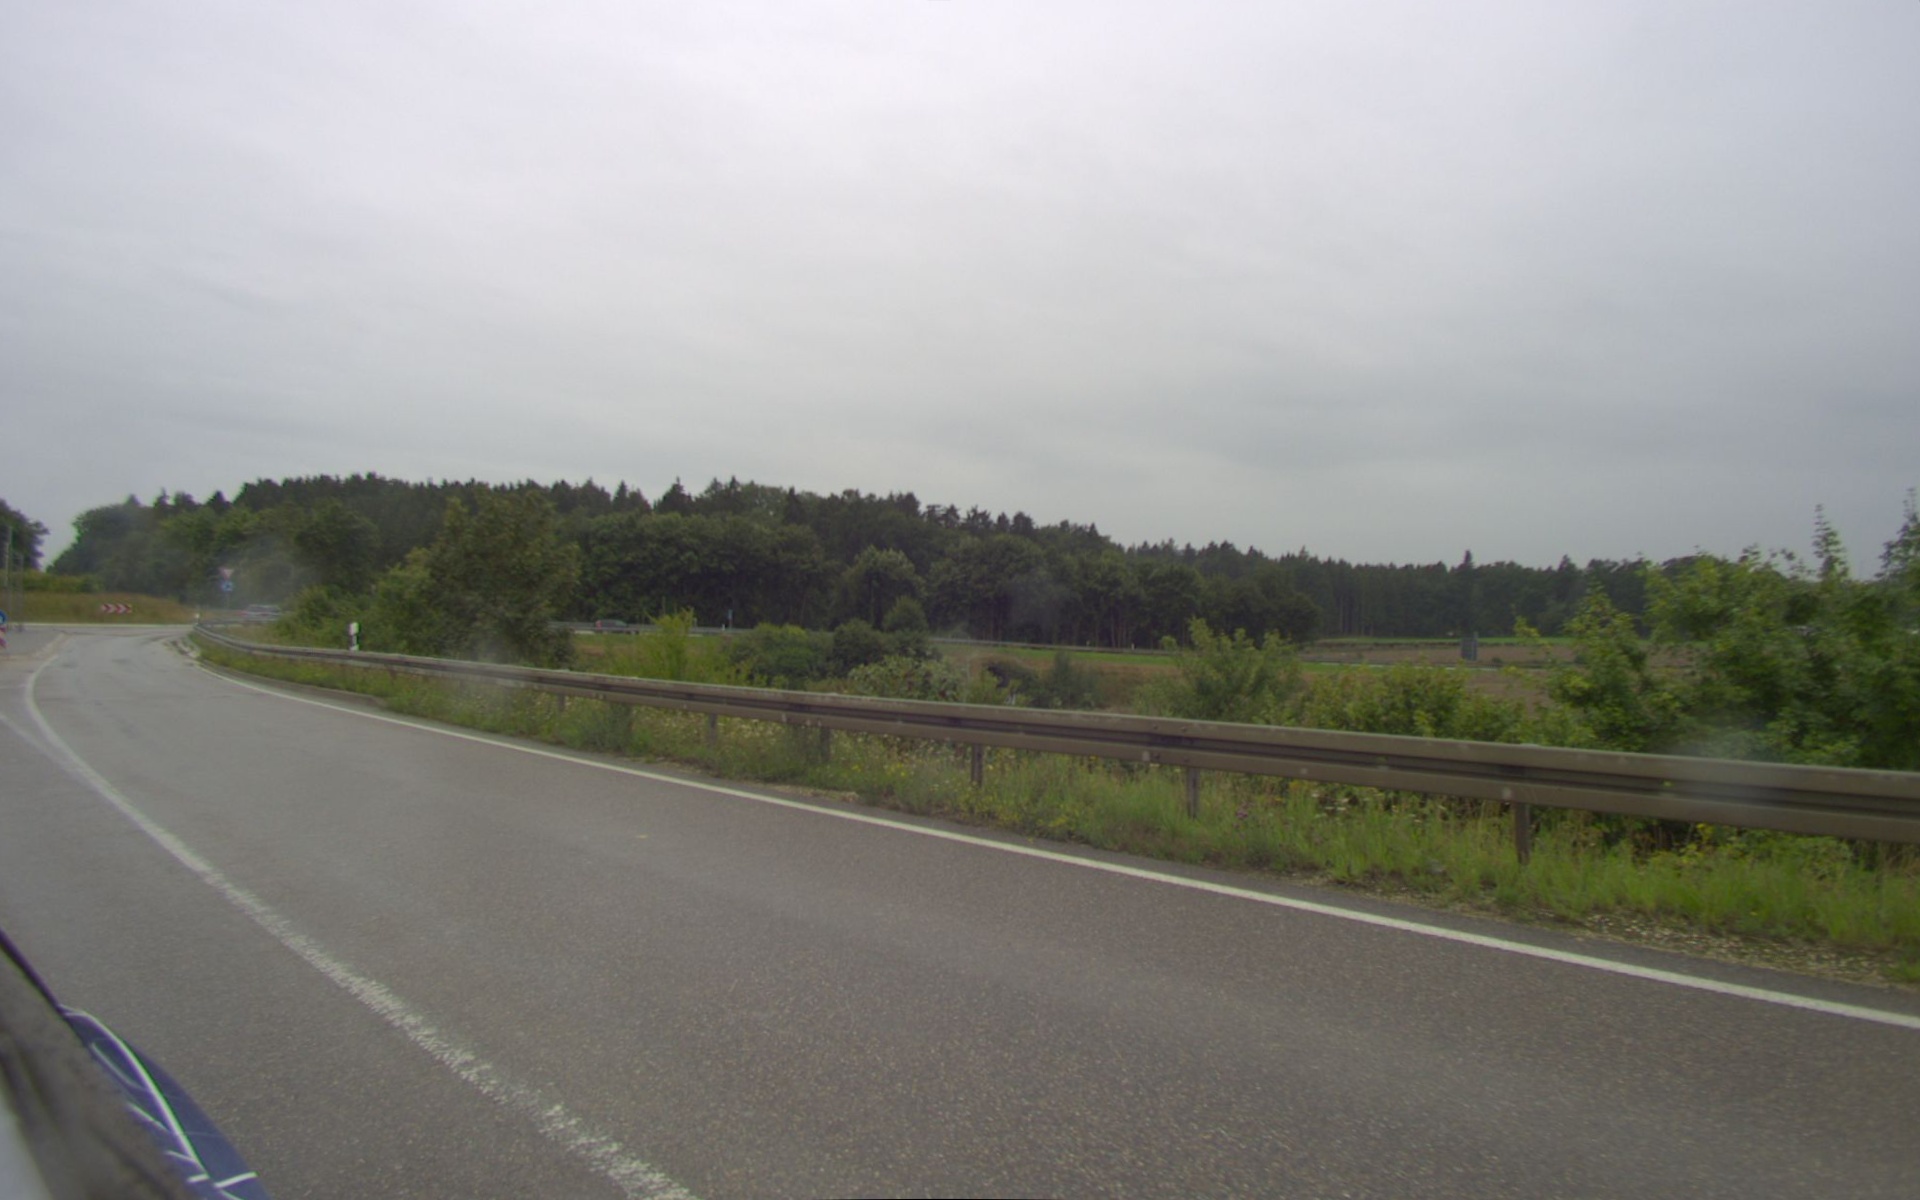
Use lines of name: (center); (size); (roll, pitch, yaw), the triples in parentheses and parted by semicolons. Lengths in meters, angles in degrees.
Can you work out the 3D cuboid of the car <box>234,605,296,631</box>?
car: (-47.033, 1.196, 68.569); (1.779, 1.587, 4.005); (1, 0, -6)
